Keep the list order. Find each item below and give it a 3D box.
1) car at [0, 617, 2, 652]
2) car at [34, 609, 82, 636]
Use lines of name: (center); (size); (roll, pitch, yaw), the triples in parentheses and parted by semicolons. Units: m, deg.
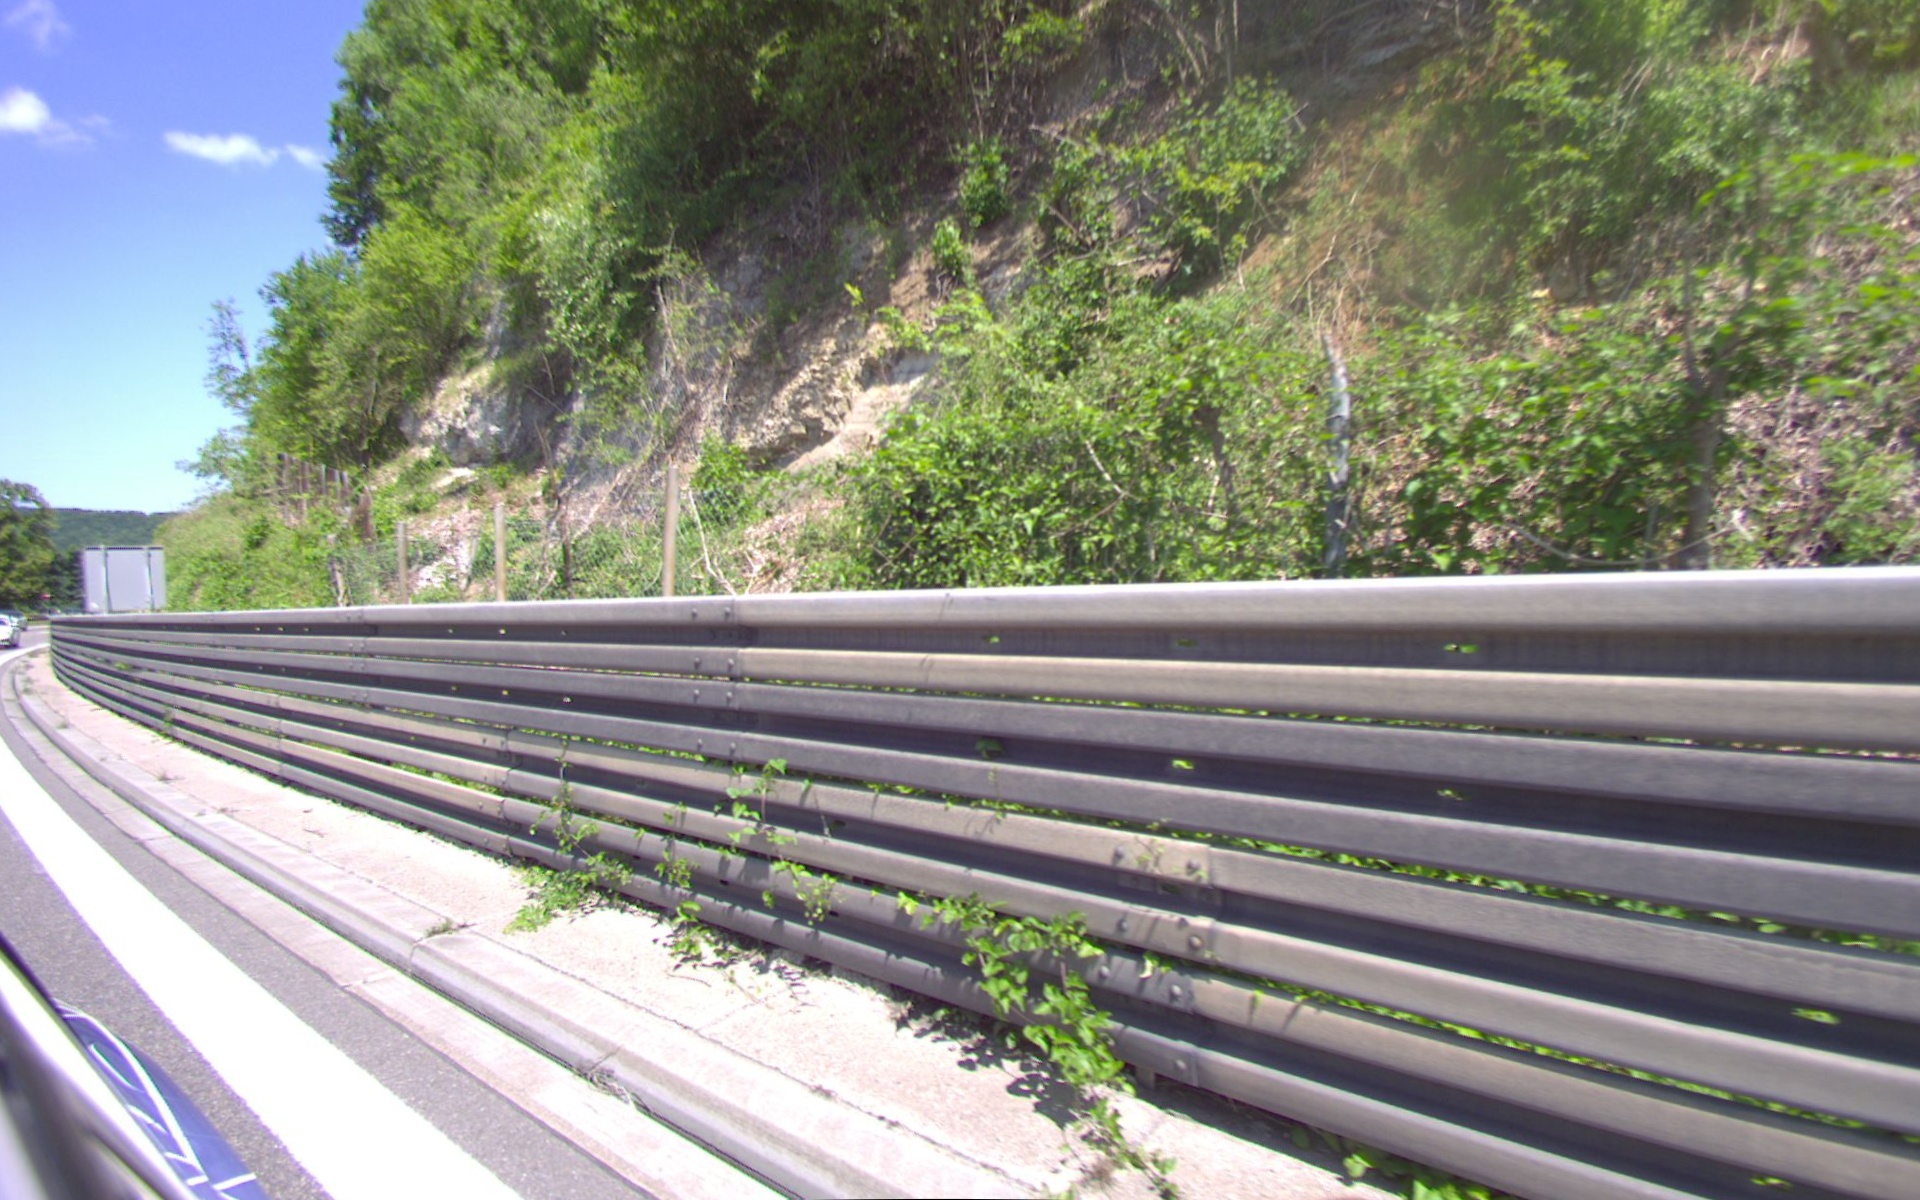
car: (-41.870, 1.452, 42.960); (1.679, 1.451, 4.046); (0, 0, -45)
car: (-72.933, 1.804, 81.905); (1.965, 2.029, 4.013); (-1, 0, -28)
